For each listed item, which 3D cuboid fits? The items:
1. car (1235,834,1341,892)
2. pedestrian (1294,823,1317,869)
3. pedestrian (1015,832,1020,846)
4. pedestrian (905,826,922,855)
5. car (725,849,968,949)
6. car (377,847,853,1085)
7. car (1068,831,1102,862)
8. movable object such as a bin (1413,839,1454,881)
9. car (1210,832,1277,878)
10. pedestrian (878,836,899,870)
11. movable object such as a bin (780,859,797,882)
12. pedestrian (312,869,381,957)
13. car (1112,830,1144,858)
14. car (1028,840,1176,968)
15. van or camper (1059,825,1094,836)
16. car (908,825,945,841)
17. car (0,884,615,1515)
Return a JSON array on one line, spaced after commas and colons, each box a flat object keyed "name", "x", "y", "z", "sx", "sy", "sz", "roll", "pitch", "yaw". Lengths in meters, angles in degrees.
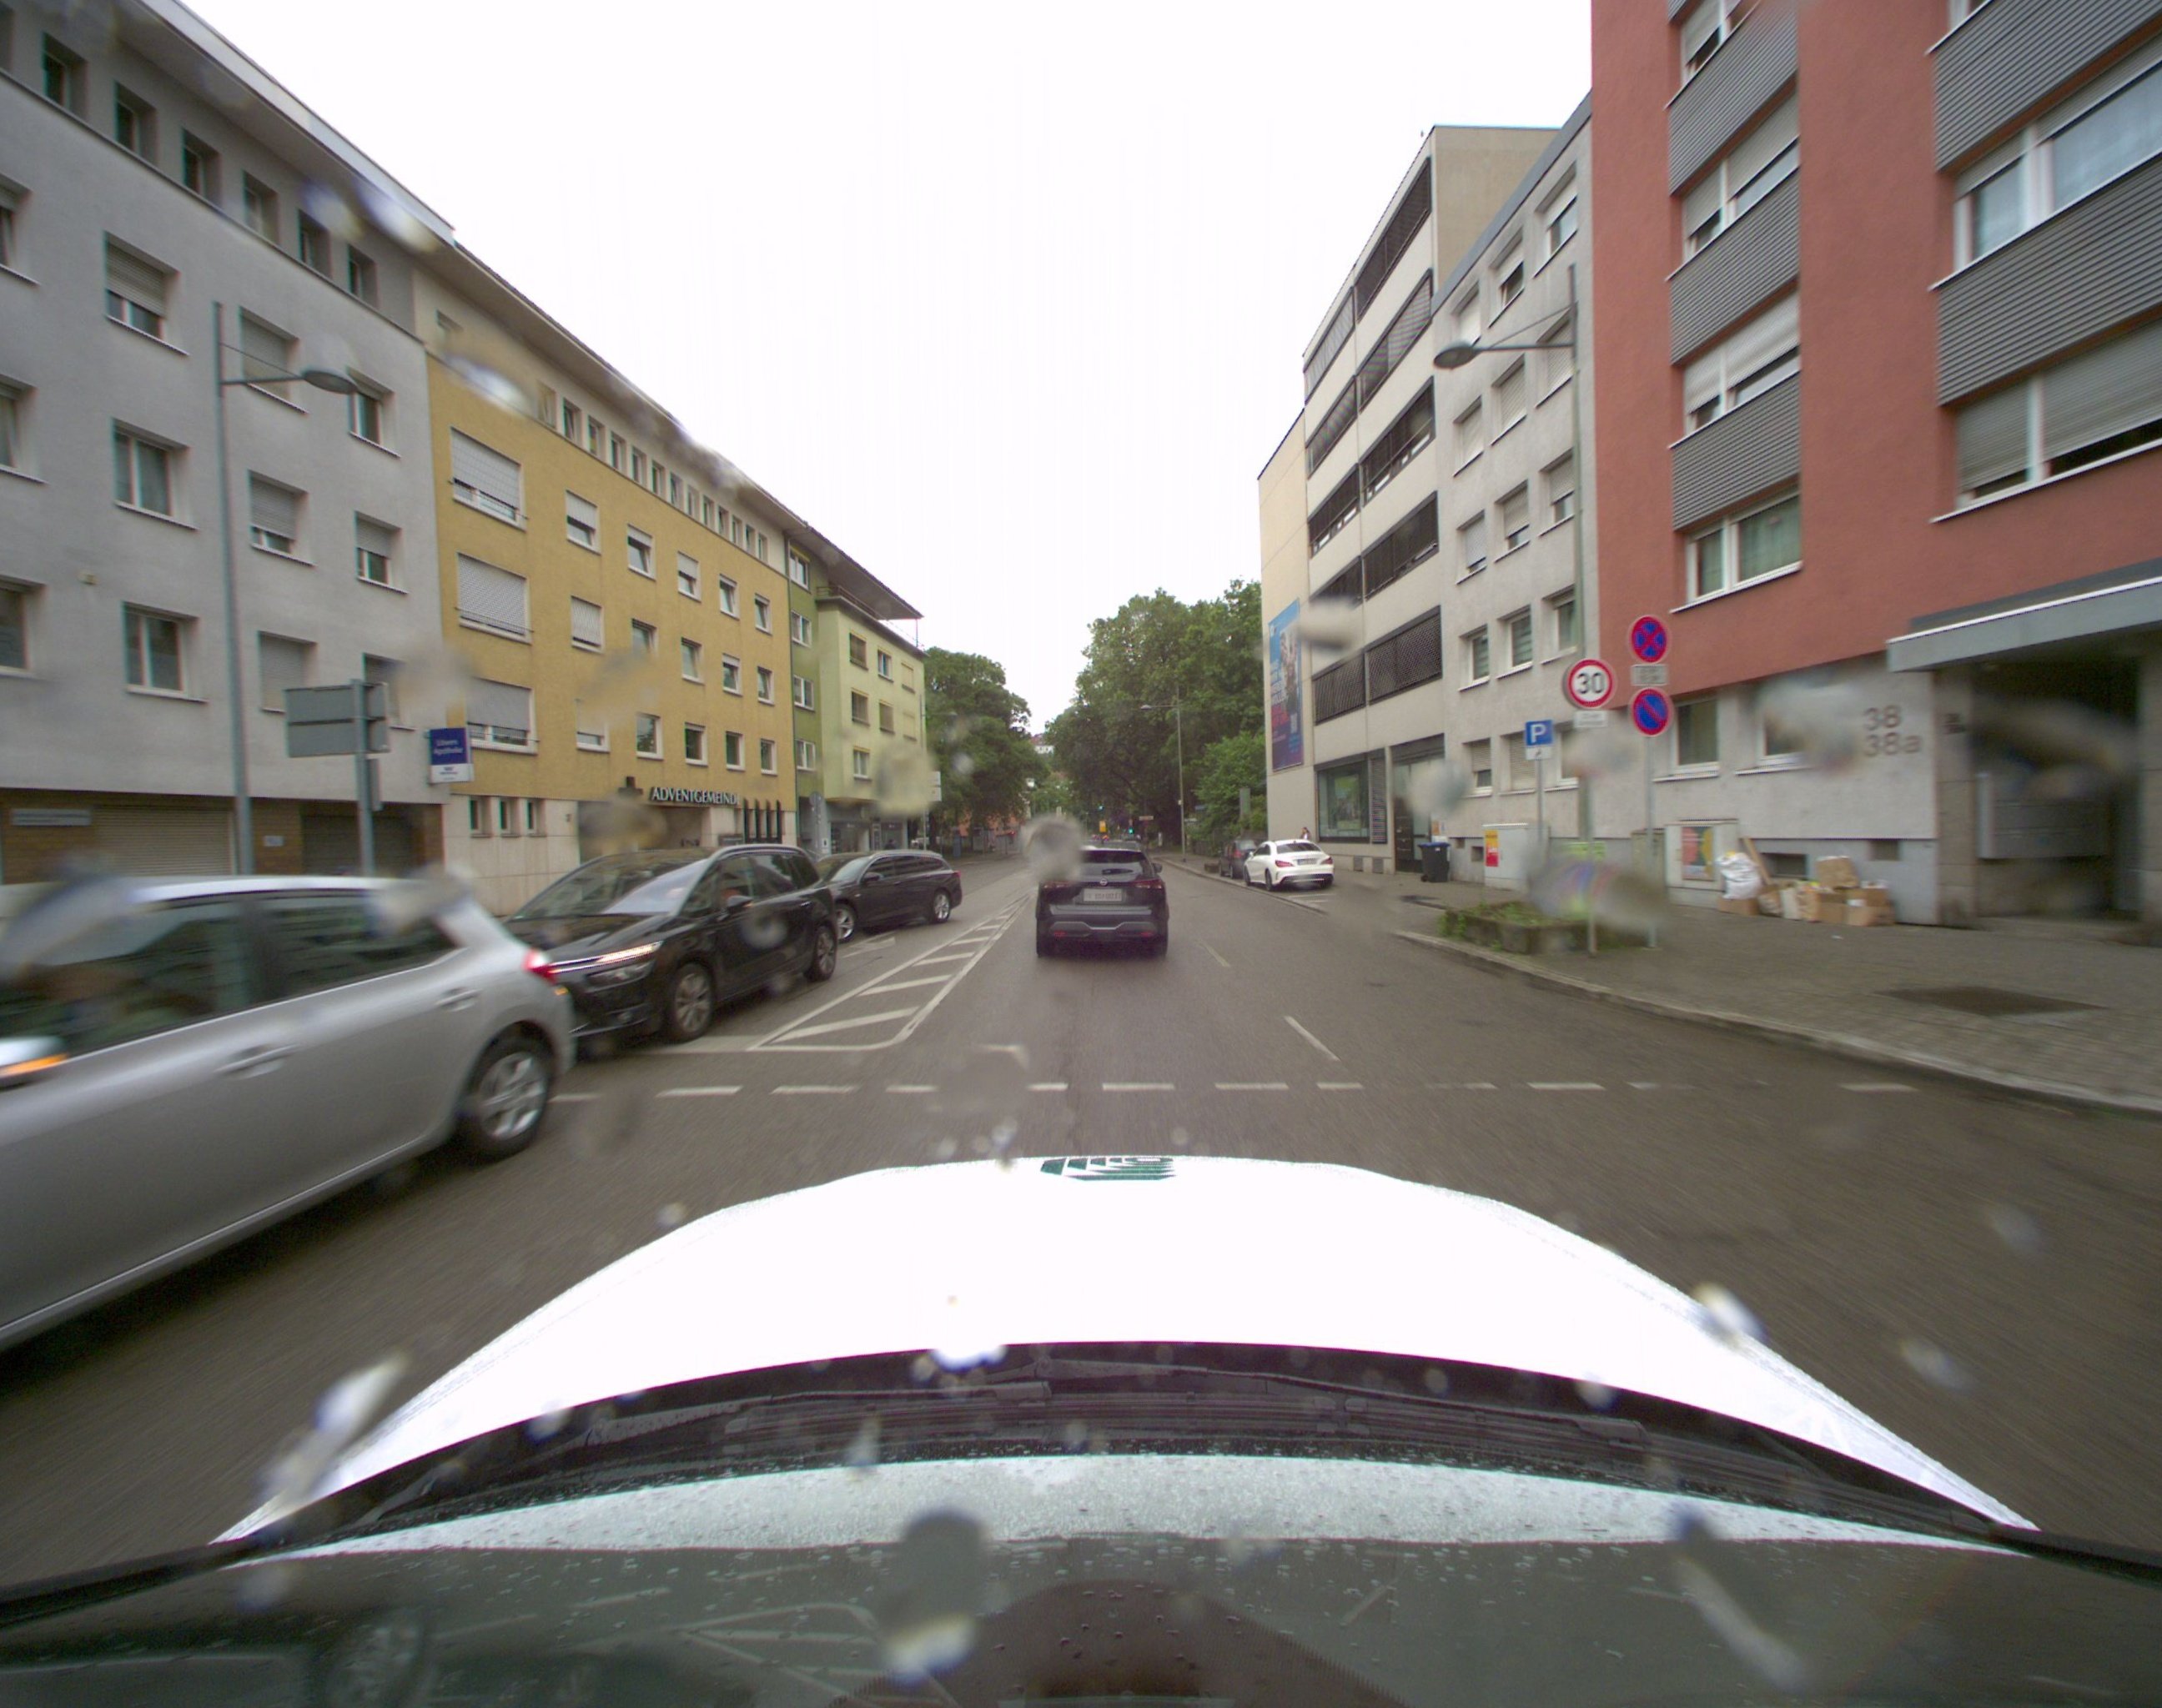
[{"name": "car", "x": 5.992, "y": 0.184, "z": 24.135, "sx": 1.770, "sy": 1.401, "sz": 4.577, "roll": -3, "pitch": 2, "yaw": -2}, {"name": "pedestrian", "x": 8.901, "y": -0.321, "z": 32.309, "sx": 0.611, "sy": 1.737, "sz": 0.680, "roll": -4, "pitch": 1, "yaw": -7}, {"name": "pedestrian", "x": -8.342, "y": -2.002, "z": 106.756, "sx": 0.666, "sy": 1.791, "sz": 0.720, "roll": 0, "pitch": 2, "yaw": -7}, {"name": "pedestrian", "x": -10.033, "y": -0.807, "z": 48.918, "sx": 0.795, "sy": 1.688, "sz": 0.817, "roll": -2, "pitch": 2, "yaw": -1}, {"name": "car", "x": -4.027, "y": 0.700, "z": 14.852, "sx": 1.804, "sy": 1.433, "sz": 4.424, "roll": -2, "pitch": 1, "yaw": 23}, {"name": "car", "x": -3.959, "y": 0.788, "z": 8.026, "sx": 1.812, "sy": 1.608, "sz": 4.436, "roll": -2, "pitch": 1, "yaw": 4}, {"name": "car", "x": 0.293, "y": -0.478, "z": 49.847, "sx": 1.938, "sy": 1.684, "sz": 4.002, "roll": -4, "pitch": 1, "yaw": 1}, {"name": "movable object such as a bin", "x": 9.457, "y": 0.143, "z": 21.892, "sx": 0.712, "sy": 1.068, "sz": 0.783, "roll": -2, "pitch": 2, "yaw": -6}, {"name": "car", "x": 6.005, "y": -0.017, "z": 30.576, "sx": 1.708, "sy": 1.441, "sz": 4.083, "roll": -4, "pitch": 2, "yaw": 1}, {"name": "pedestrian", "x": -10.518, "y": -0.056, "z": 44.559, "sx": 0.861, "sy": 1.788, "sz": 0.877, "roll": 1, "pitch": 2, "yaw": 6}, {"name": "movable object such as a bin", "x": -12.181, "y": 0.691, "z": 33.915, "sx": 0.451, "sy": 0.929, "sz": 0.503, "roll": -1, "pitch": 2, "yaw": 7}, {"name": "pedestrian", "x": -13.859, "y": 1.103, "z": 15.381, "sx": 0.683, "sy": 1.581, "sz": 0.653, "roll": 1, "pitch": 2, "yaw": 7}, {"name": "car", "x": 3.356, "y": -0.714, "z": 58.693, "sx": 1.940, "sy": 1.816, "sz": 3.999, "roll": -4, "pitch": 1, "yaw": -1}, {"name": "car", "x": 0.240, "y": 0.618, "z": 12.449, "sx": 1.889, "sy": 1.629, "sz": 3.998, "roll": -1, "pitch": 1, "yaw": -1}, {"name": "van or camper", "x": -1.440, "y": -7.403, "z": 256.905, "sx": 10.899, "sy": 3.556, "sz": 3.184, "roll": 0, "pitch": 2, "yaw": -2}, {"name": "car", "x": -17.298, "y": -2.330, "z": 91.324, "sx": 3.823, "sy": 1.734, "sz": 1.879, "roll": 0, "pitch": 2, "yaw": -2}, {"name": "car", "x": -3.856, "y": 1.019, "z": 2.878, "sx": 1.927, "sy": 1.526, "sz": 4.136, "roll": -2, "pitch": 1, "yaw": 1}]
